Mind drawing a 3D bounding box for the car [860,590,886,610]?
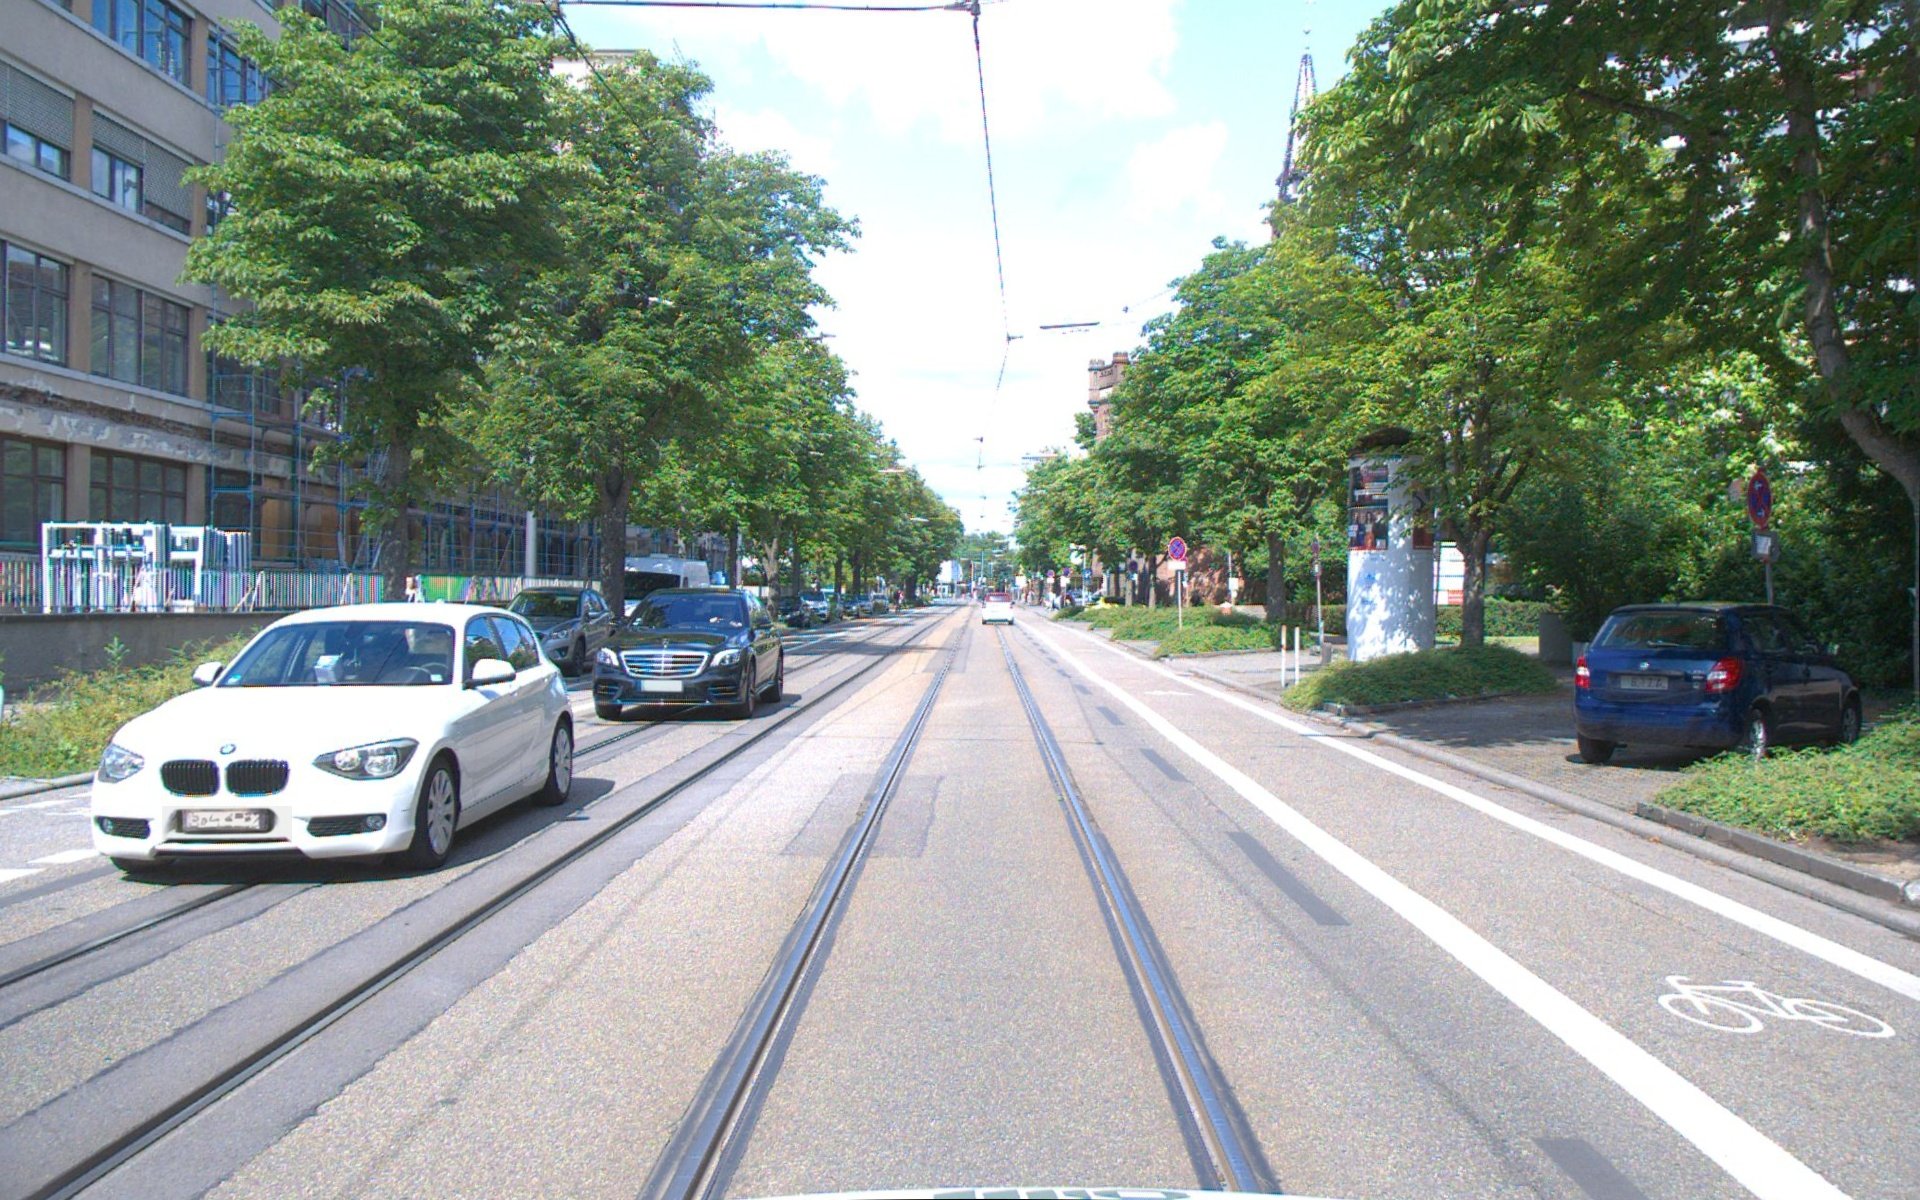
[{"bbox_3d":[-6.808,-0.015,129.311,1.767,1.543,4.103,1,0,1],"label":"car"}]

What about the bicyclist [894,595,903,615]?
[{"bbox_3d":[-4.954,0.400,132.413,0.645,1.607,0.946,2,0,-1],"label":"bicyclist"}]

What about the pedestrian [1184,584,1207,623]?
[{"bbox_3d":[12.575,0.177,88.362,0.957,2.049,1.093,2,0,-1],"label":"pedestrian"}]

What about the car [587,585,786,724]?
[{"bbox_3d":[-3.322,0.614,20.926,1.763,1.534,4.536,1,0,0],"label":"car"}]

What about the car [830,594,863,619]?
[{"bbox_3d":[-7.229,0.394,105.690,1.767,1.543,4.103,1,0,1],"label":"car"}]

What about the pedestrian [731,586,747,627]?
[{"bbox_3d":[-10.967,0.328,82.003,0.788,2.049,0.484,1,0,-9],"label":"pedestrian"}]

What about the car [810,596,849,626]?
[{"bbox_3d":[-7.183,0.605,91.438,1.767,1.543,4.103,2,0,1],"label":"car"}]

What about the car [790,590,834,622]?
[{"bbox_3d":[-7.432,0.282,83.489,1.767,1.543,4.103,1,0,1],"label":"car"}]

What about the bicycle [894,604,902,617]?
[{"bbox_3d":[-4.955,0.827,132.386,0.605,0.990,1.717,1,0,0],"label":"bicycle"}]

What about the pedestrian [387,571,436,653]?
[{"bbox_3d":[-11.283,0.244,34.011,0.749,1.648,0.594,2,0,0],"label":"pedestrian"}]

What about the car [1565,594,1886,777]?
[{"bbox_3d":[7.487,0.726,15.989,1.589,1.512,3.972,0,0,44],"label":"car"}]

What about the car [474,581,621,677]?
[{"bbox_3d":[-8.013,0.533,32.504,1.767,1.691,4.103,2,0,1],"label":"car"}]

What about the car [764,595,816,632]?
[{"bbox_3d":[-7.485,0.579,73.028,1.767,1.543,4.103,2,0,1],"label":"car"}]

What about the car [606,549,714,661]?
[{"bbox_3d":[-7.741,0.115,43.177,1.733,2.685,5.322,2,0,0],"label":"car"}]

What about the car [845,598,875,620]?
[{"bbox_3d":[-7.131,0.631,118.117,1.767,1.543,4.103,2,0,1],"label":"car"}]

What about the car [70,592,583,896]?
[{"bbox_3d":[-3.566,0.712,10.183,1.653,1.430,4.224,-2,0,-2],"label":"car"}]

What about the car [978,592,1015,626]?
[{"bbox_3d":[1.774,0.420,81.626,1.632,1.653,3.619,0,1,-2],"label":"car"}]
